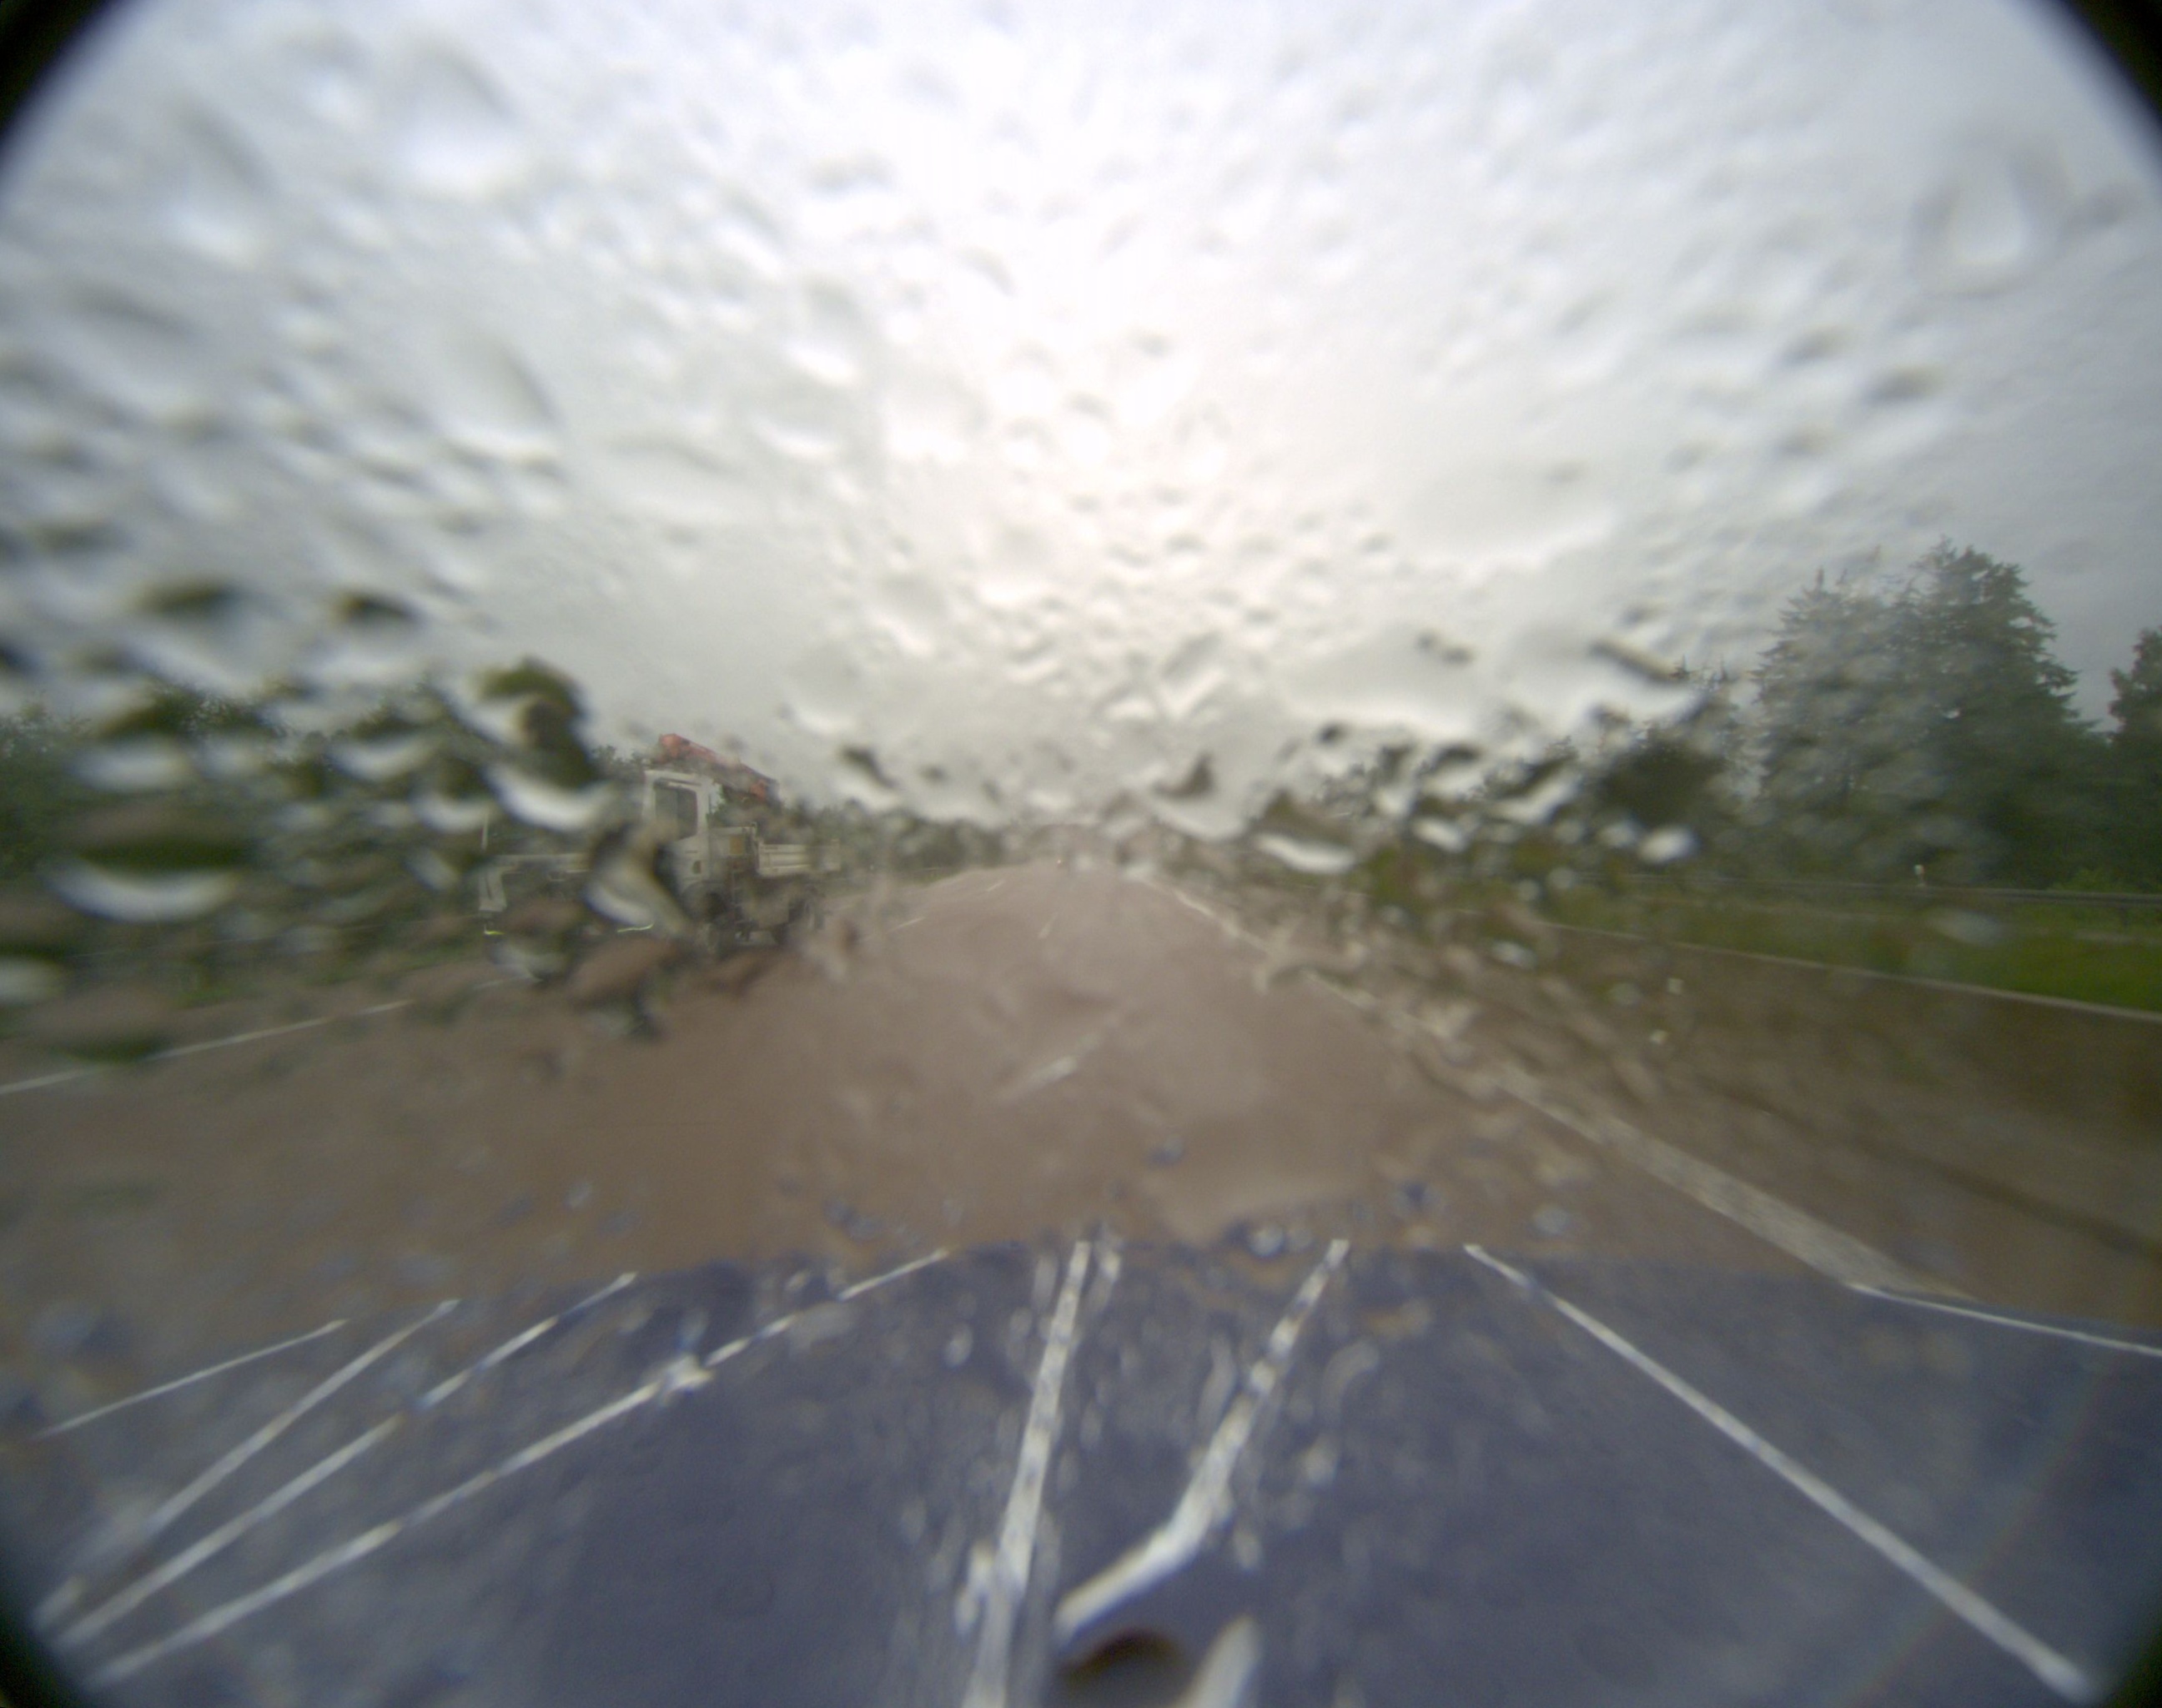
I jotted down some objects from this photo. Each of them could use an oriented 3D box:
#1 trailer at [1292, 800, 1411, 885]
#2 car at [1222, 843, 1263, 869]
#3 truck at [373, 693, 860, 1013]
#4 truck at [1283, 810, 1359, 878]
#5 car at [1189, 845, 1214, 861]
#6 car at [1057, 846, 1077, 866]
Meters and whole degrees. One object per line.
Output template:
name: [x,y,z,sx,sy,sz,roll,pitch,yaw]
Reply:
trailer: [18.173,-0.756,52.583,3.763,4.924,13.682,-2,1,2]
car: [13.462,0.114,63.627,2.312,2.002,5.151,-2,1,0]
truck: [-6.709,-0.031,13.072,3.242,3.708,7.954,-2,1,1]
truck: [18.419,-0.799,58.894,3.688,4.843,7.254,-2,1,2]
car: [15.738,-0.103,99.477,2.312,1.966,5.755,-2,1,0]
car: [-1.447,0.179,79.494,1.999,2.002,4.276,-3,1,0]
